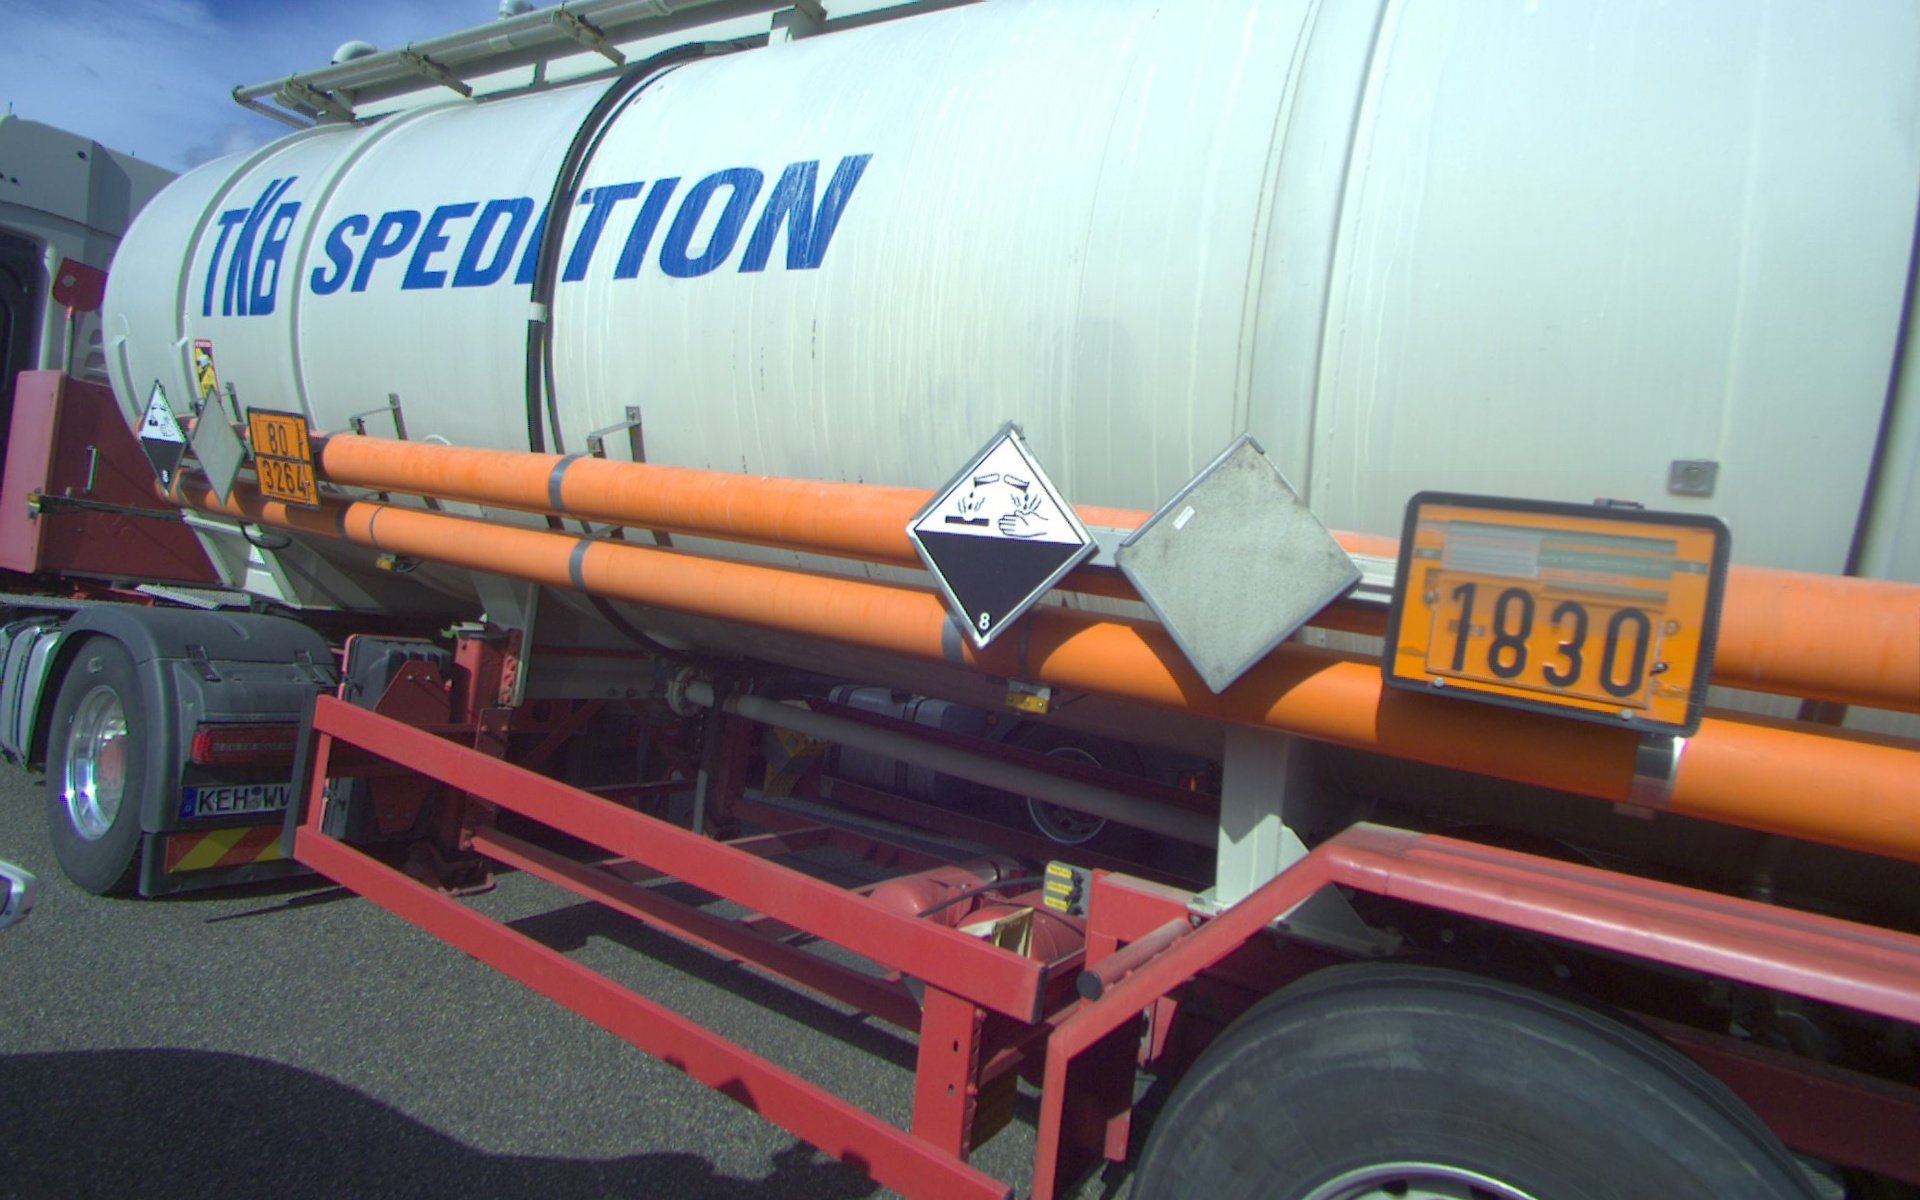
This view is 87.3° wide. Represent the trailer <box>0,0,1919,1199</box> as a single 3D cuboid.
[{"bbox_3d":[1.153,-0.216,2.621,10.450,3.697,2.546,7,-1,32],"label":"trailer"}]

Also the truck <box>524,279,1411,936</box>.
[{"bbox_3d":[-0.230,-0.170,8.342,6.663,3.616,2.533,7,0,32],"label":"truck"}]

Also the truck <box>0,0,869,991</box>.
[{"bbox_3d":[-4.144,-0.813,5.884,6.617,3.626,2.538,7,-1,31],"label":"truck"}]

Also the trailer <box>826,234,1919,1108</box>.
[{"bbox_3d":[4.329,0.337,5.510,10.450,3.641,2.545,7,-1,32],"label":"trailer"}]
